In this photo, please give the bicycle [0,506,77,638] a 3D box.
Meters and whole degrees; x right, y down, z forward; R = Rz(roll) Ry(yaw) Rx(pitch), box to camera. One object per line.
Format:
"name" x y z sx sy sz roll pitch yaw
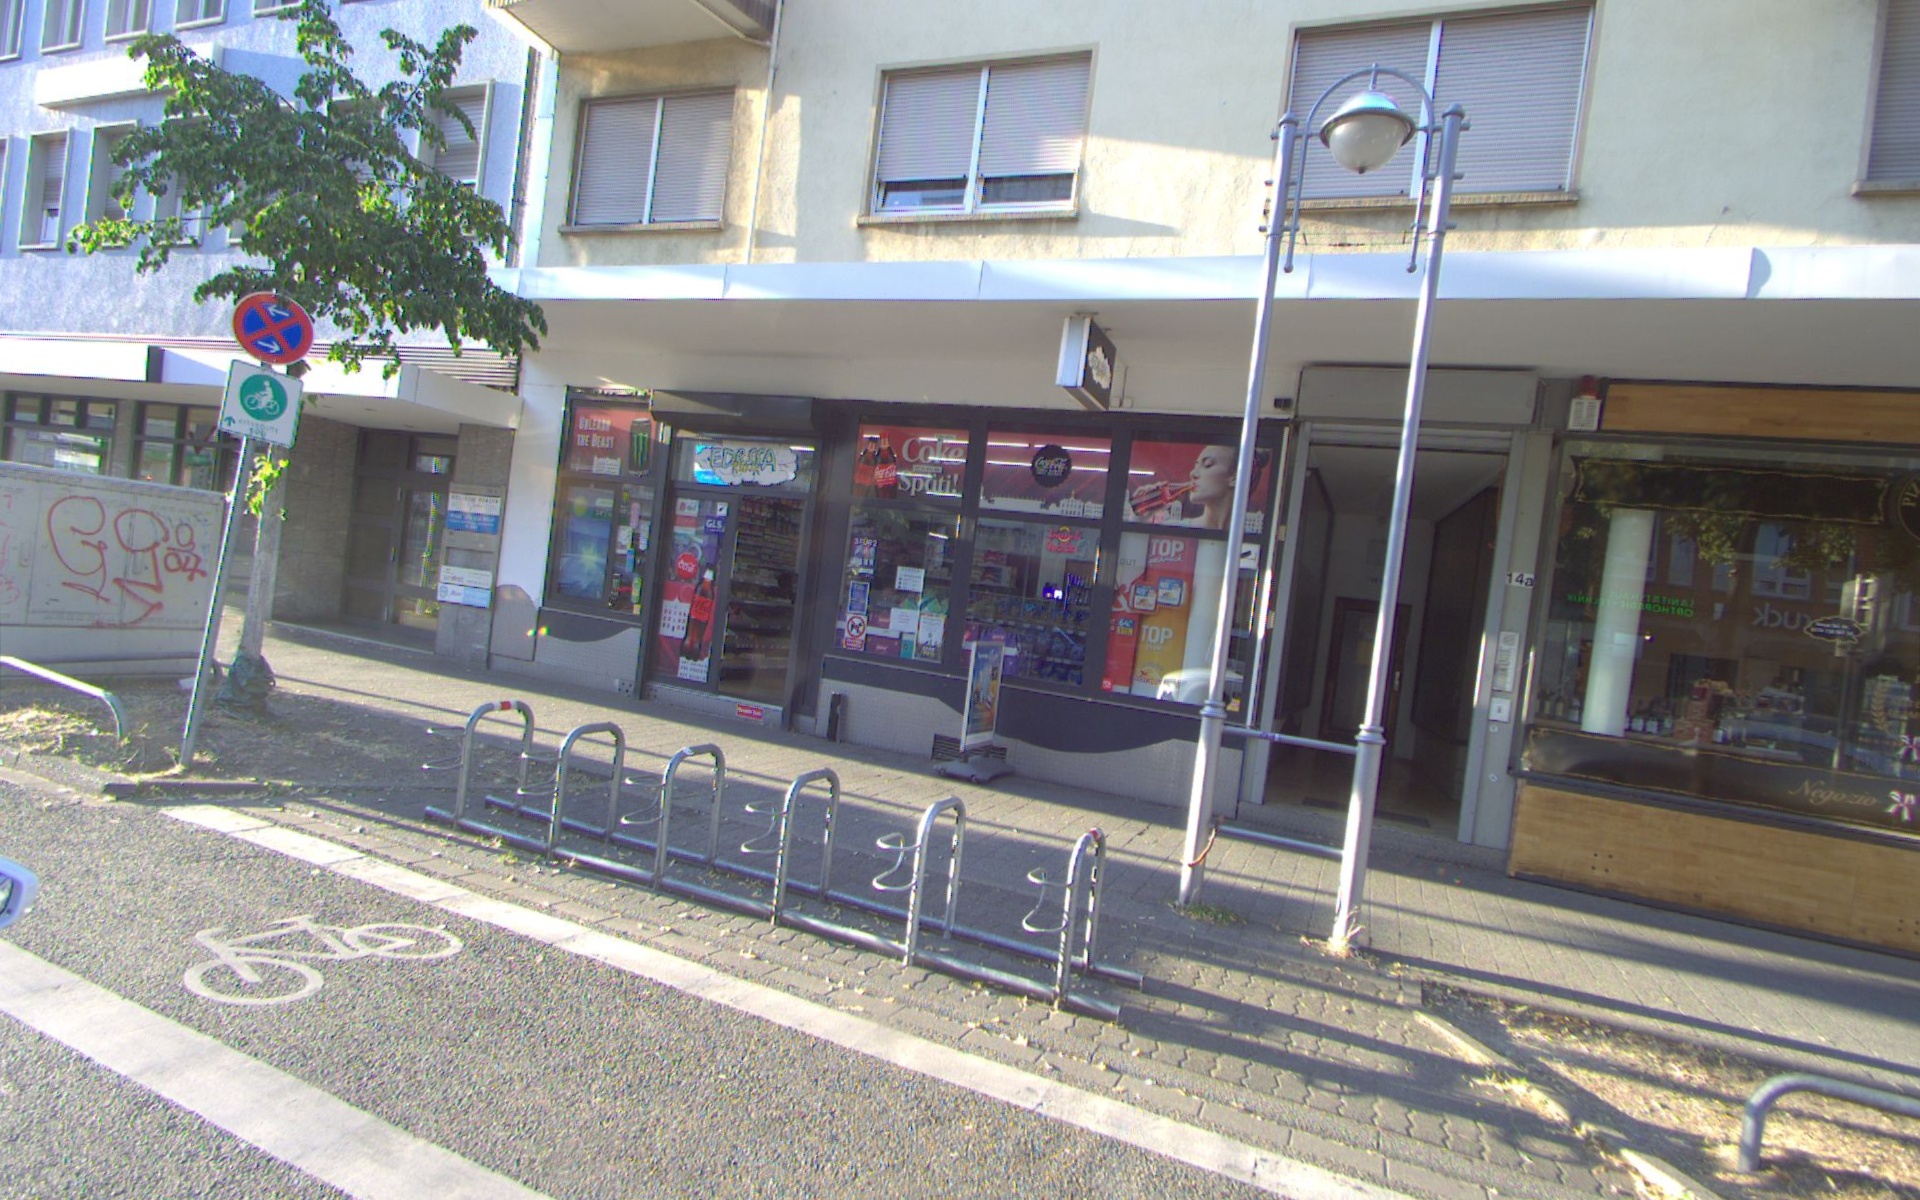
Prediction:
"bicycle" -9.128 -0.289 9.102 0.484 1.208 1.663 8 0 11
